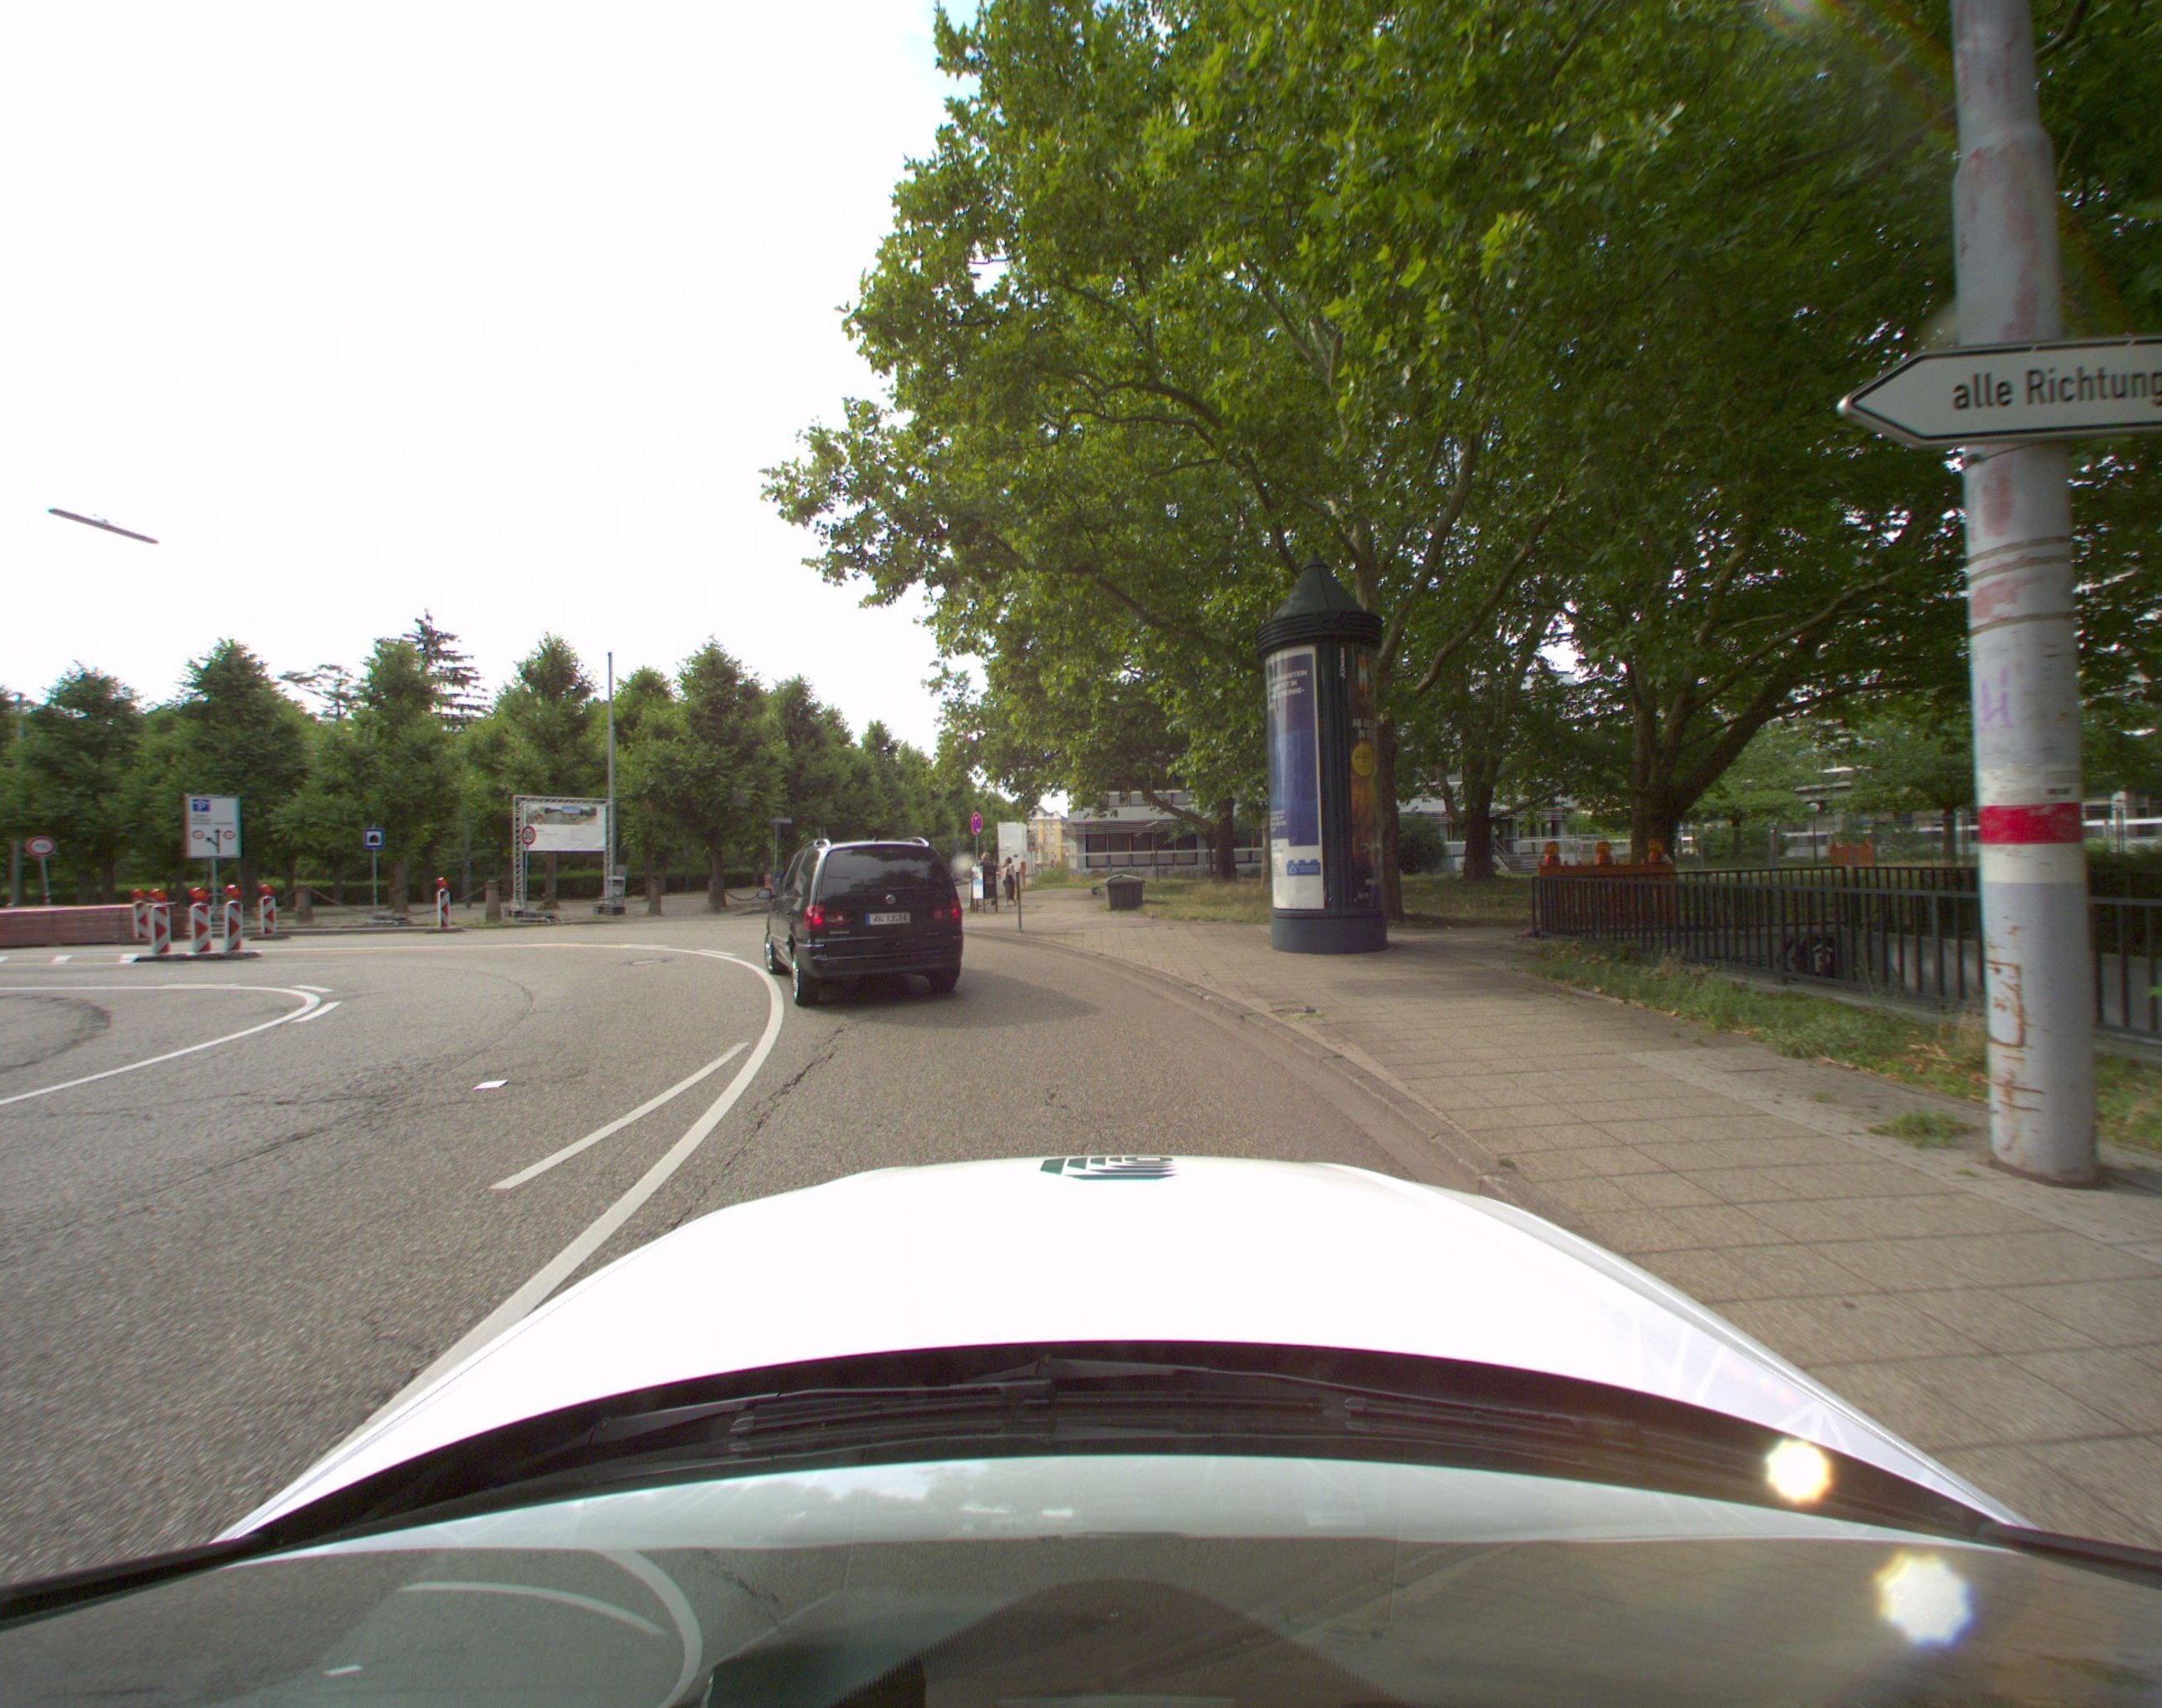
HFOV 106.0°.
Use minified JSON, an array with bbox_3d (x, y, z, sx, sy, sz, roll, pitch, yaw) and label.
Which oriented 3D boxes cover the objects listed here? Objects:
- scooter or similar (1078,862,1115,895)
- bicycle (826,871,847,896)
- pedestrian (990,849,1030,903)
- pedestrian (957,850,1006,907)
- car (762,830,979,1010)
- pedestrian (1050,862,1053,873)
[{"bbox_3d":[0.605,0.951,31.928,1.446,1.269,0.569,0,0,-4],"label":"scooter or similar"},{"bbox_3d":[-11.928,1.410,39.755,0.954,1.110,2.565,0,0,-16],"label":"bicycle"},{"bbox_3d":[-2.213,0.674,25.484,0.887,1.641,0.858,0,0,35],"label":"pedestrian"},{"bbox_3d":[-3.139,0.745,25.685,0.951,1.741,1.263,0,0,31],"label":"pedestrian"},{"bbox_3d":[-2.796,0.657,10.076,1.803,1.708,4.096,-2,0,-26],"label":"car"},{"bbox_3d":[-4.529,2.013,124.400,0.460,1.625,0.629,0,0,-12],"label":"pedestrian"}]
